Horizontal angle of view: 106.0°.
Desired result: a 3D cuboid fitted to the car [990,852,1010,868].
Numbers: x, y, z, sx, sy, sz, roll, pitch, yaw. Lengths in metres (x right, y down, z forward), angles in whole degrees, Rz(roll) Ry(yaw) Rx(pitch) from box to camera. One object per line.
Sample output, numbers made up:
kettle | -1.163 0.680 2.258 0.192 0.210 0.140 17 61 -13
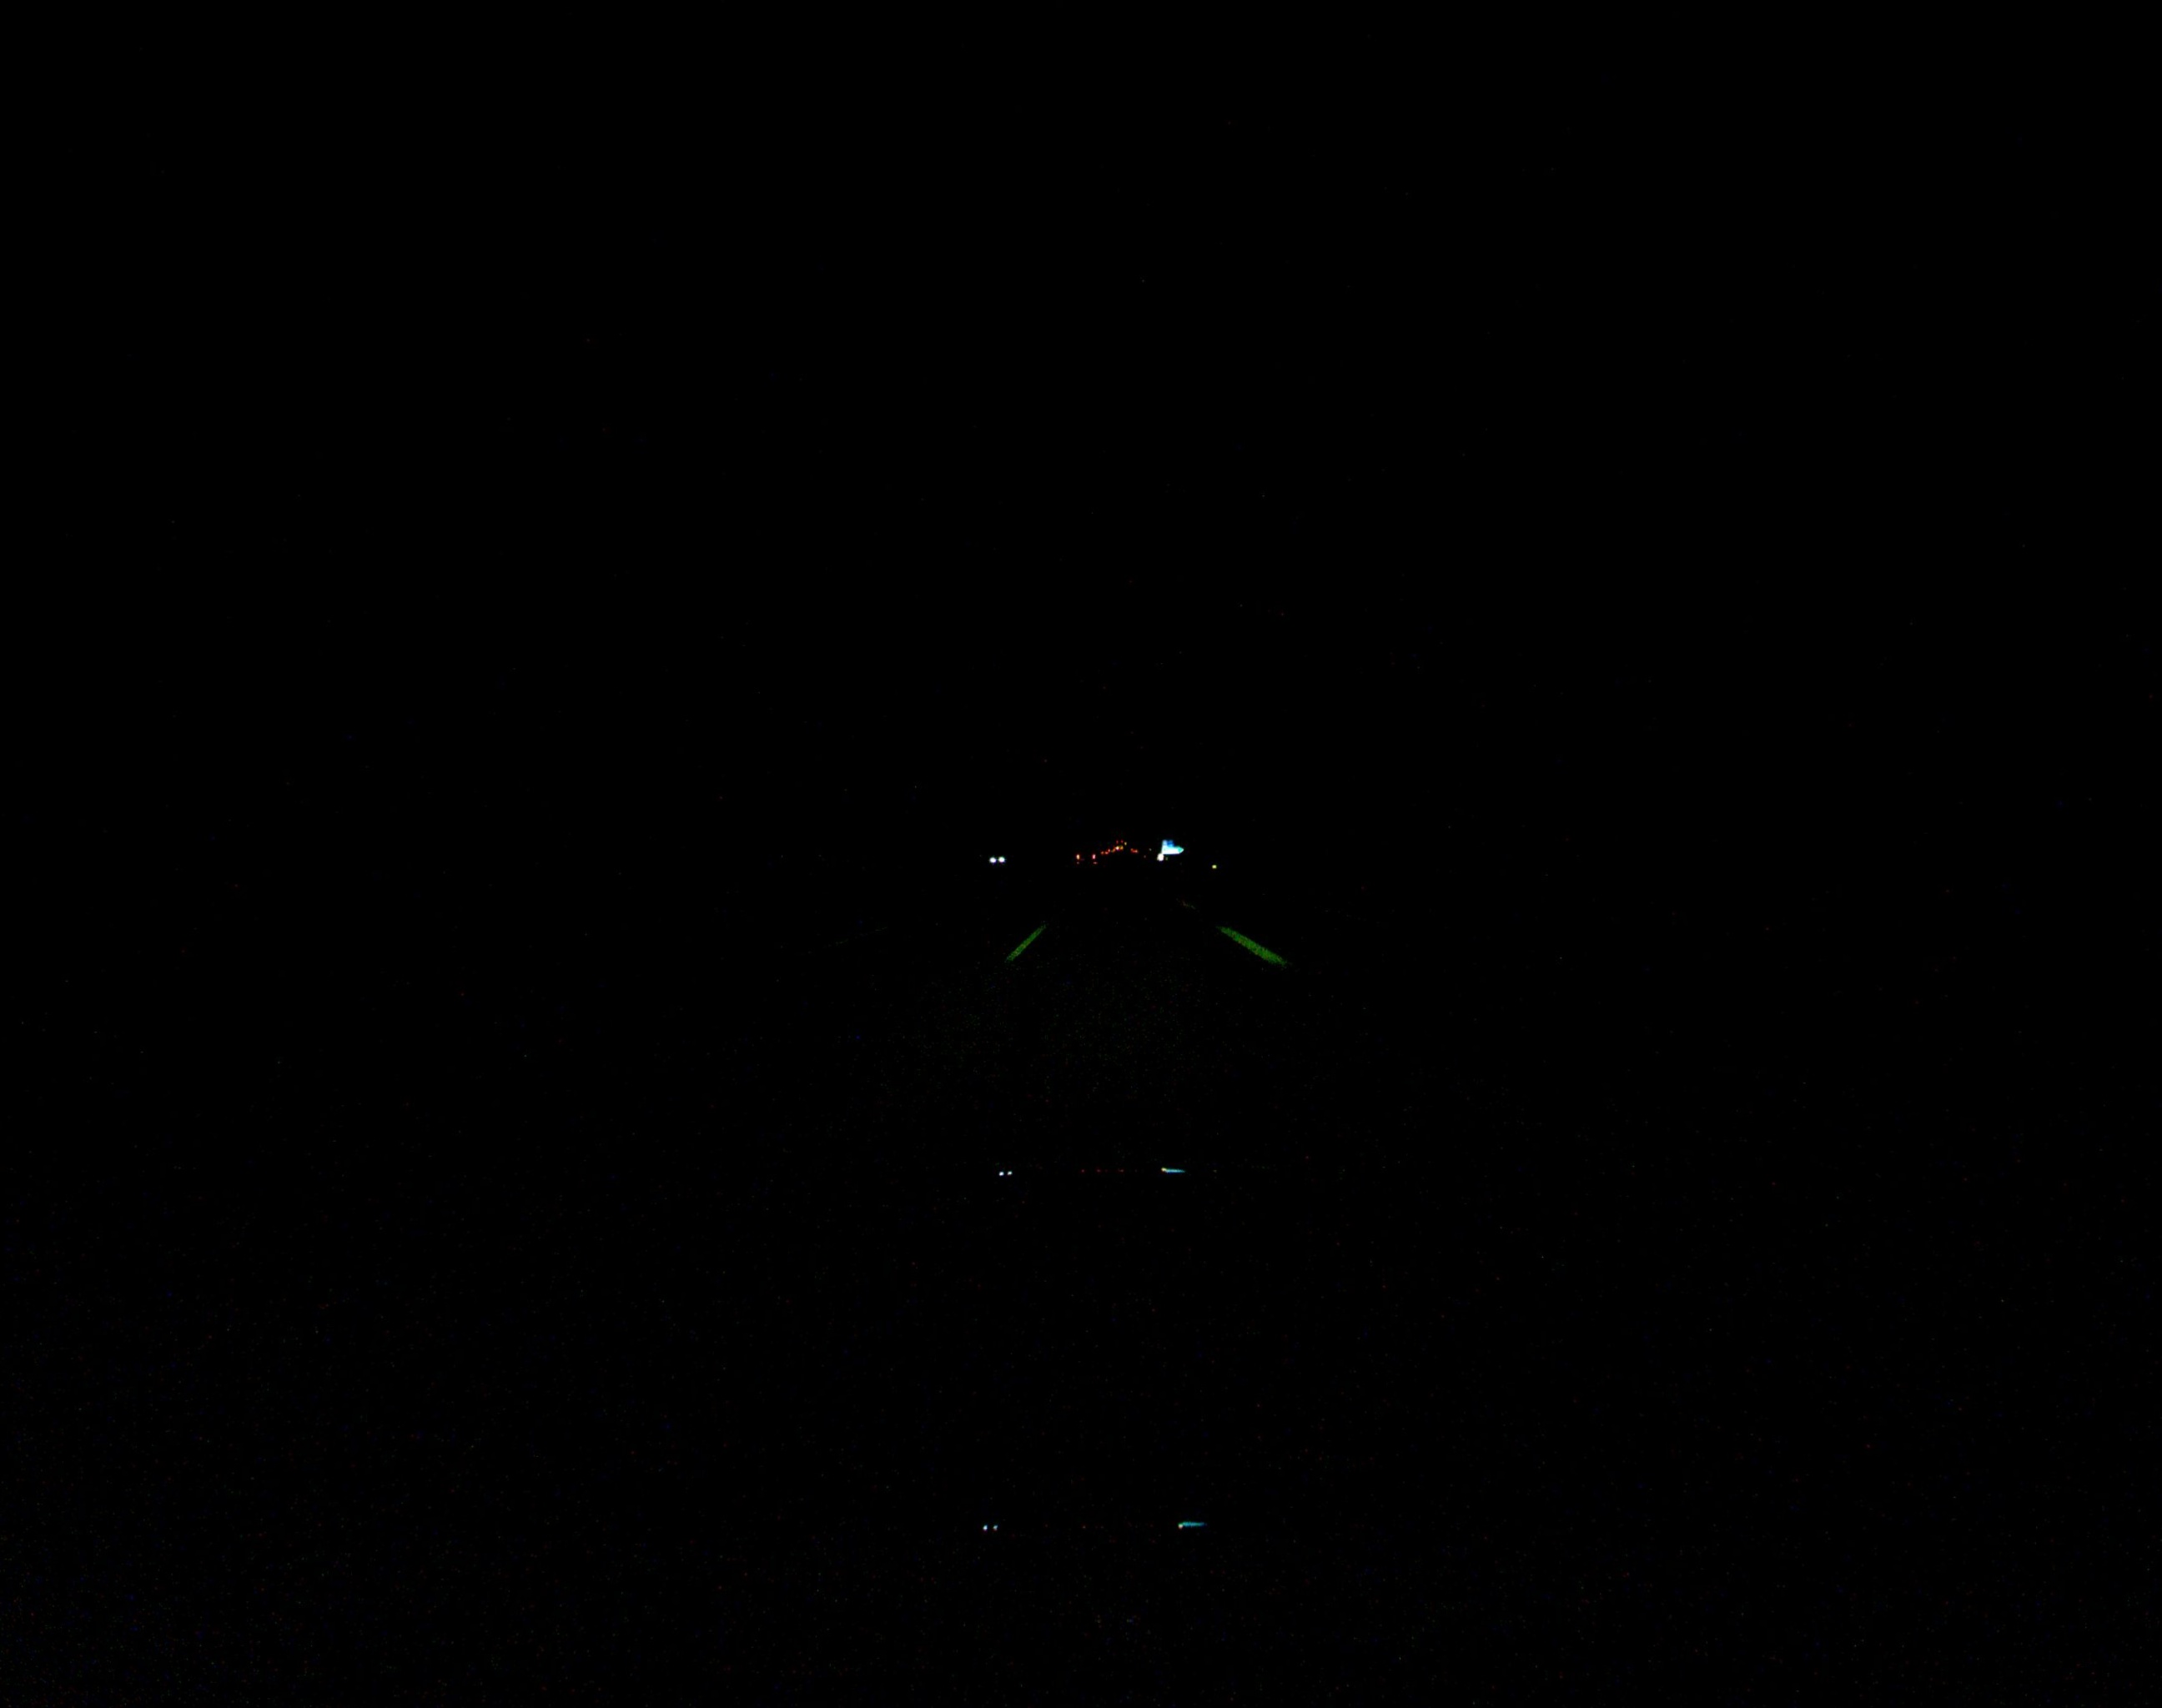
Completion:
car | -15.444 1.171 155.877 2.835 2.937 6.605 0 -1 2

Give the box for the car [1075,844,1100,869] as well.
car | 0.811 0.369 95.561 2.776 2.733 6.301 -1 -1 2

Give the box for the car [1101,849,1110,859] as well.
car | 7.709 0.047 257.287 2.776 2.733 6.300 -1 -1 1
